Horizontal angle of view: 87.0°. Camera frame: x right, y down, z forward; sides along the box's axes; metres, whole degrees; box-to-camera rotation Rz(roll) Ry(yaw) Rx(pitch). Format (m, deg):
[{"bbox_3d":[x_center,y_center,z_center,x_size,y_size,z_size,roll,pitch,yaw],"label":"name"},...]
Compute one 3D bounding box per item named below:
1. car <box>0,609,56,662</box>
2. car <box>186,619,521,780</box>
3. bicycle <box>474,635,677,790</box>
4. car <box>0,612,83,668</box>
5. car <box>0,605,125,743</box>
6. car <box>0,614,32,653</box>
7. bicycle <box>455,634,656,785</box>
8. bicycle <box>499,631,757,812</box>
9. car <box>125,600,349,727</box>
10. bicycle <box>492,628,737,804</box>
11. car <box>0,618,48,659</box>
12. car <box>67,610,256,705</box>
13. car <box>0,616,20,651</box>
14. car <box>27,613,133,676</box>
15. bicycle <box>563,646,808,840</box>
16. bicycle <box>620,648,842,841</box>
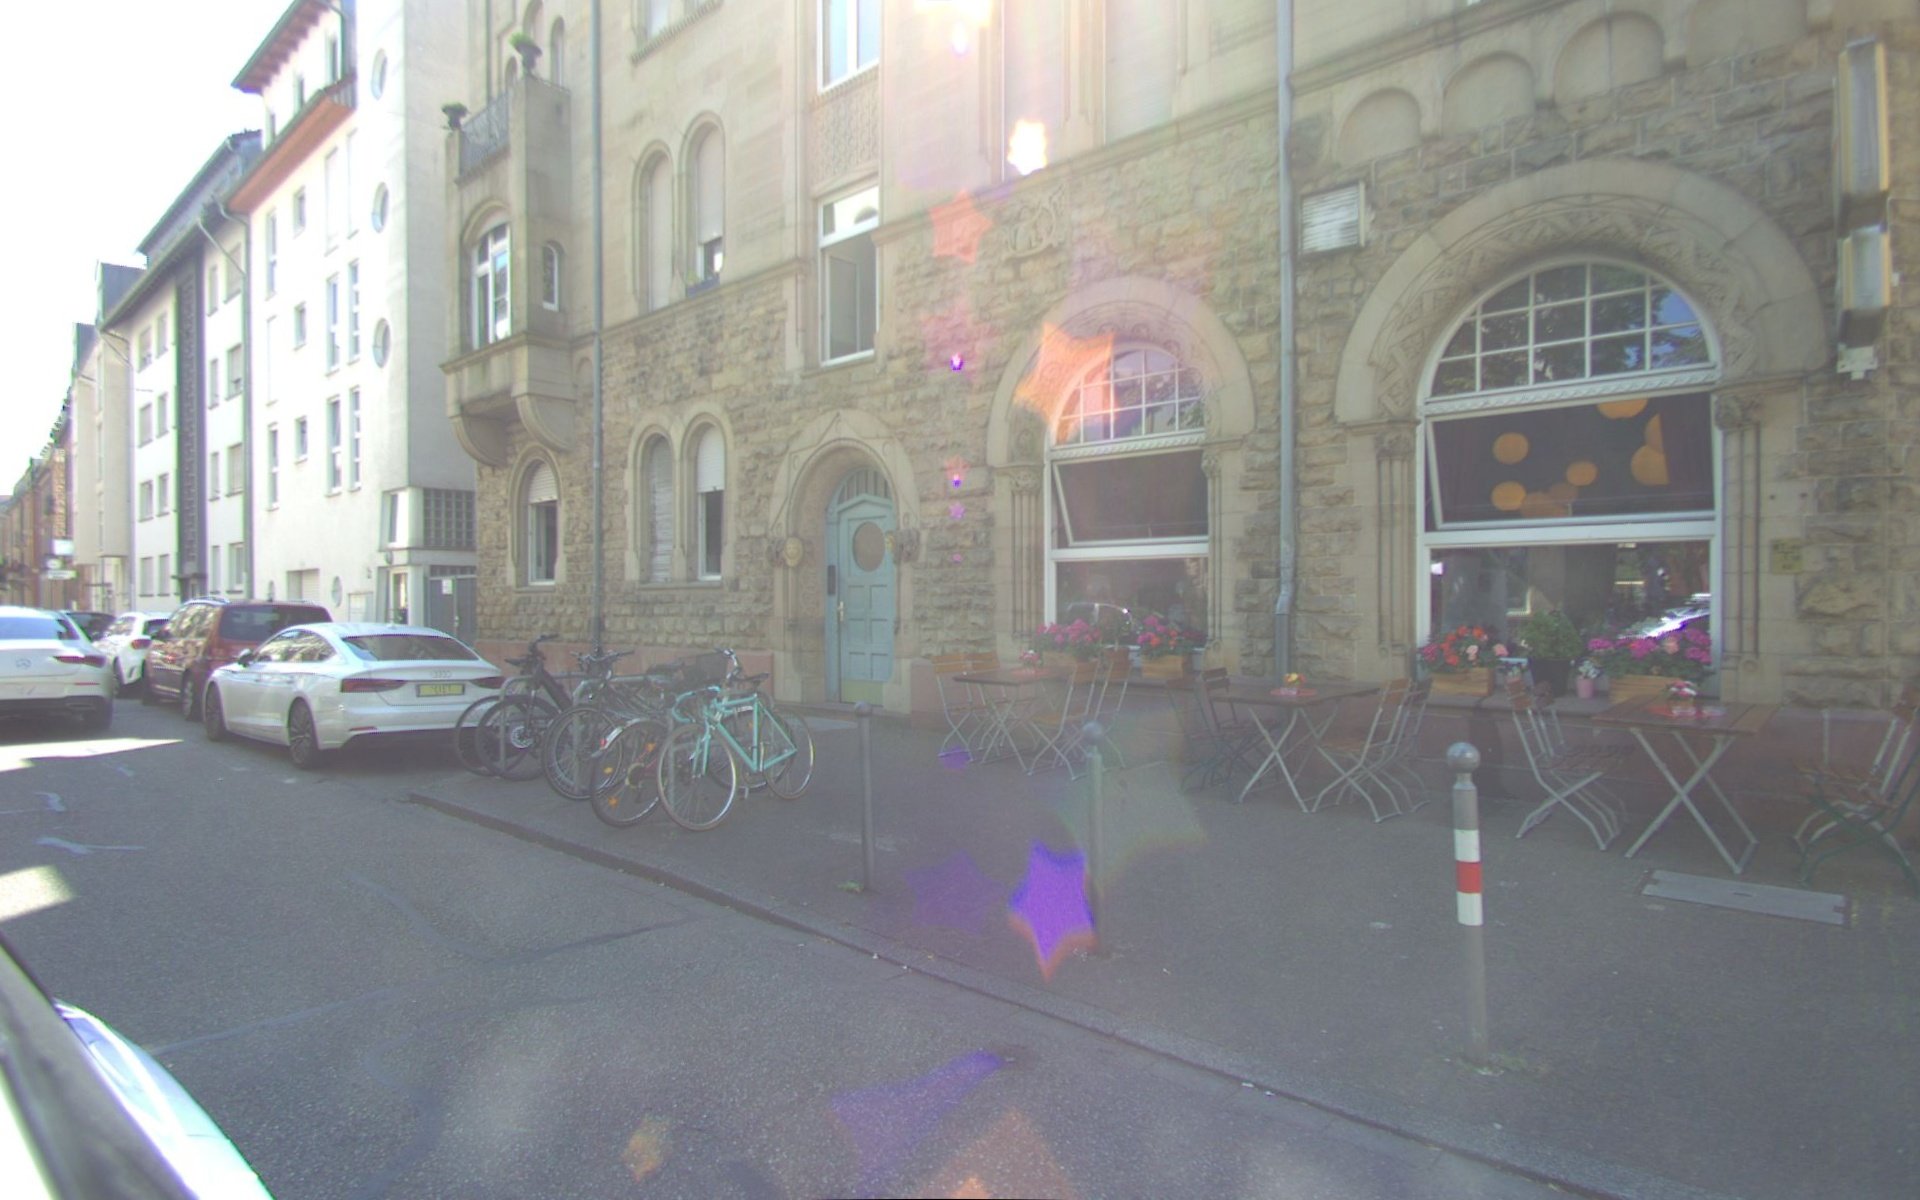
[{"bbox_3d":[-31.081,1.131,33.261,3.976,1.656,1.586,0,-3,42],"label":"car"},{"bbox_3d":[-6.686,0.934,10.948,4.511,1.363,1.684,0,-3,40],"label":"car"},{"bbox_3d":[-3.215,0.899,8.612,0.292,1.108,1.686,0,1,38],"label":"bicycle"},{"bbox_3d":[-27.227,1.140,29.683,4.670,1.530,1.638,0,-3,42],"label":"car"},{"bbox_3d":[-11.846,0.811,12.403,4.361,1.472,1.822,0,-3,42],"label":"car"},{"bbox_3d":[-39.634,1.325,41.585,4.347,1.506,1.712,0,-3,42],"label":"car"},{"bbox_3d":[-3.463,0.895,8.803,0.292,1.108,1.686,0,1,38],"label":"bicycle"},{"bbox_3d":[-2.481,0.858,7.821,0.435,1.138,1.976,0,1,38],"label":"bicycle"},{"bbox_3d":[-10.520,0.836,14.619,4.050,1.595,1.655,0,-3,41],"label":"car"},{"bbox_3d":[-2.728,0.867,8.227,0.394,1.138,1.953,0,3,38],"label":"bicycle"},{"bbox_3d":[-34.859,1.384,37.020,4.347,1.404,1.746,0,-3,42],"label":"car"},{"bbox_3d":[-14.152,0.949,17.858,4.276,1.471,1.758,0,-3,40],"label":"car"},{"bbox_3d":[-44.661,1.473,46.488,3.850,1.561,1.612,0,-5,40],"label":"car"},{"bbox_3d":[-22.843,1.112,26.230,3.893,1.503,1.550,0,-3,42],"label":"car"},{"bbox_3d":[-1.812,0.904,6.931,0.413,1.053,1.688,0,2,38],"label":"bicycle"},{"bbox_3d":[-1.447,0.881,6.640,0.366,1.015,1.510,-1,2,38],"label":"bicycle"}]
